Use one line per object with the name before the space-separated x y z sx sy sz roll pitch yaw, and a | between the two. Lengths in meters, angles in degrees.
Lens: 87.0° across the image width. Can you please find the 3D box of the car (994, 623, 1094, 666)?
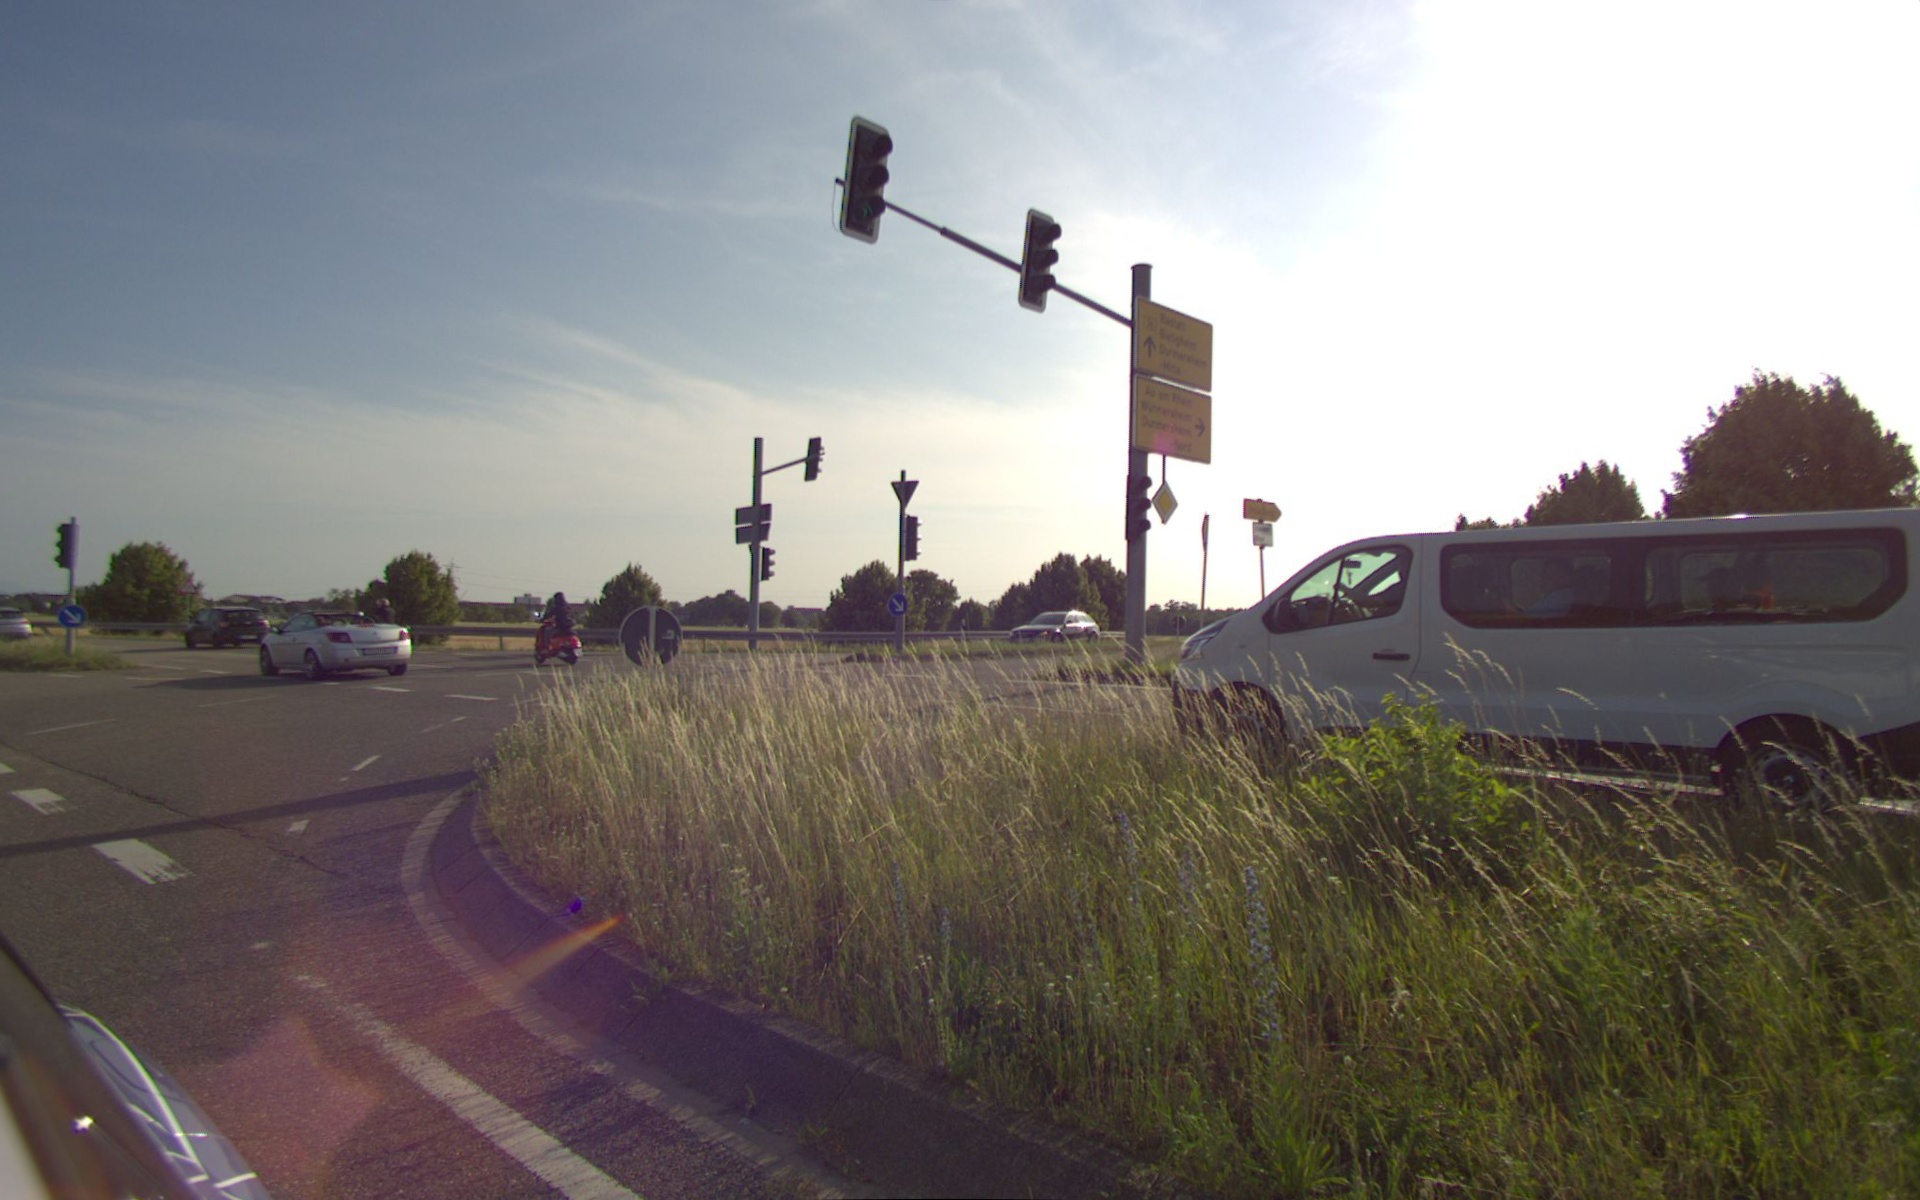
car | 3.112 1.578 36.869 1.955 1.409 3.953 -1 -1 35

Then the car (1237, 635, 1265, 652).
car | 24.617 3.666 85.630 1.638 1.364 3.992 0 -1 7

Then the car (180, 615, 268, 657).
car | -26.517 1.268 36.439 3.516 1.423 1.670 -1 -1 37

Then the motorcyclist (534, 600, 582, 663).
motorcyclist | -9.753 0.751 24.545 1.020 1.476 0.697 -1 -1 41

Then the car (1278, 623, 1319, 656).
car | 17.738 2.031 52.953 1.938 1.546 4.418 -1 -1 20

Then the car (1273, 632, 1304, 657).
car | 22.578 3.058 69.732 1.910 1.599 4.107 -1 -1 17

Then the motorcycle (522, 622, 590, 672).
motorcycle | -9.837 1.125 24.601 2.022 1.167 0.700 -1 -1 41

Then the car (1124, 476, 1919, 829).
car | 4.246 0.319 7.739 5.788 1.918 1.972 -1 -1 43

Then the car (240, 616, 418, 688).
car | -13.336 1.032 21.302 4.445 1.363 1.679 -1 -1 37

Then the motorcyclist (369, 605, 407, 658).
motorcyclist | -16.709 0.923 29.552 0.895 1.514 0.691 -2 -2 39

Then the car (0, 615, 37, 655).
car | -38.390 1.382 40.180 4.081 1.535 1.672 -1 -1 34
